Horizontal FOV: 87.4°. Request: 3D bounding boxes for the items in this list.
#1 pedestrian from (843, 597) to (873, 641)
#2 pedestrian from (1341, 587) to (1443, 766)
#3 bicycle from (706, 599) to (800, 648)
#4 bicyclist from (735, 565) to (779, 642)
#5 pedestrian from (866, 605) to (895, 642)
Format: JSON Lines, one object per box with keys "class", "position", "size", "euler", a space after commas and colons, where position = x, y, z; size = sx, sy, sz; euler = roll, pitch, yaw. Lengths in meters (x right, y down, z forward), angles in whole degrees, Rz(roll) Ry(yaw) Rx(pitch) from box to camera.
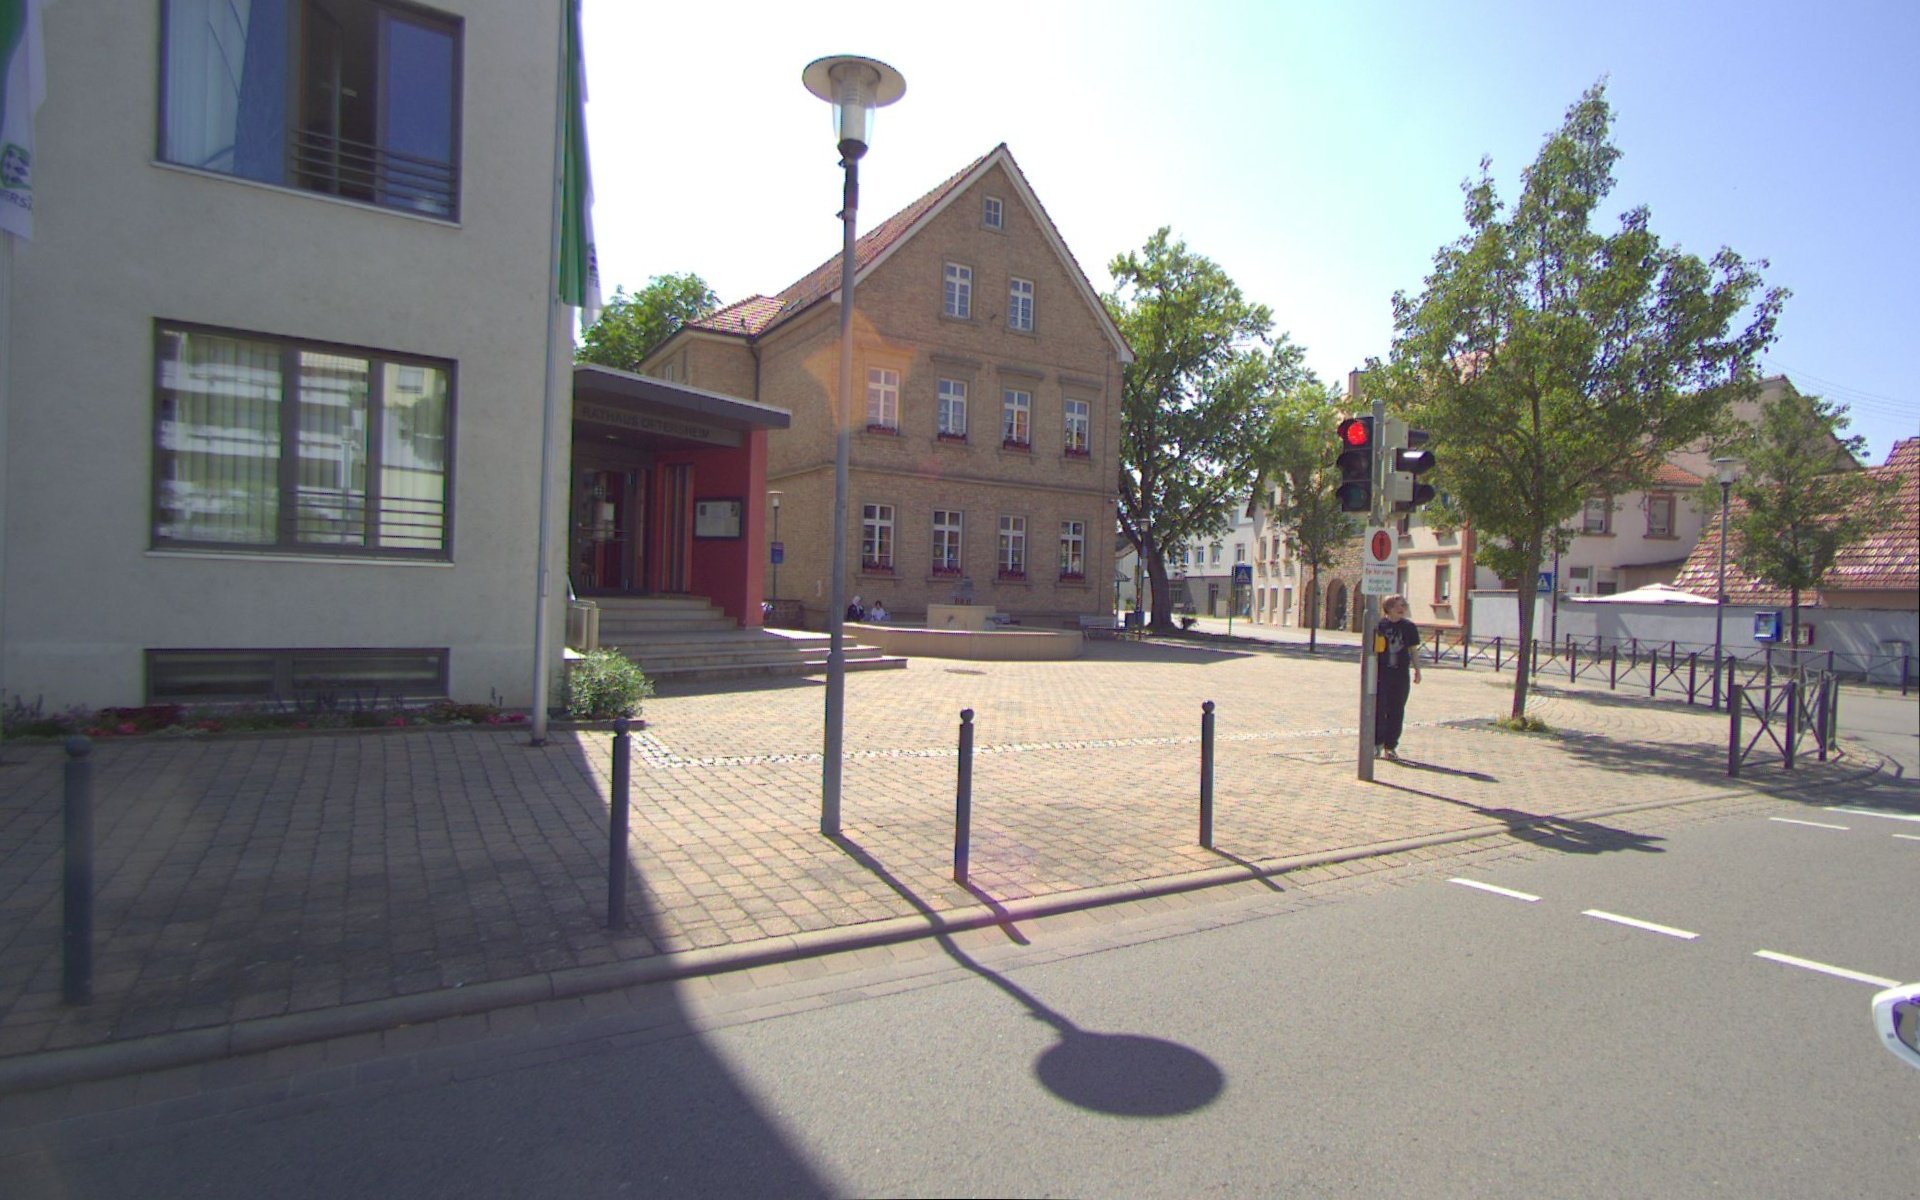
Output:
{"class": "pedestrian", "position": [-2.894, 0.533, 28.396], "size": [0.611, 1.186, 0.636], "euler": [2, 0, -29]}
{"class": "pedestrian", "position": [4.336, 0.738, 10.148], "size": [0.798, 1.676, 0.851], "euler": [3, 1, 19]}
{"class": "bicycle", "position": [-4.446, 0.506, 21.651], "size": [1.858, 0.970, 0.676], "euler": [2, 0, 2]}
{"class": "bicyclist", "position": [-4.369, 0.071, 21.663], "size": [0.746, 1.603, 0.671], "euler": [2, 0, 2]}
{"class": "pedestrian", "position": [-2.304, 0.677, 28.959], "size": [0.610, 1.041, 0.636], "euler": [1, 1, -29]}
